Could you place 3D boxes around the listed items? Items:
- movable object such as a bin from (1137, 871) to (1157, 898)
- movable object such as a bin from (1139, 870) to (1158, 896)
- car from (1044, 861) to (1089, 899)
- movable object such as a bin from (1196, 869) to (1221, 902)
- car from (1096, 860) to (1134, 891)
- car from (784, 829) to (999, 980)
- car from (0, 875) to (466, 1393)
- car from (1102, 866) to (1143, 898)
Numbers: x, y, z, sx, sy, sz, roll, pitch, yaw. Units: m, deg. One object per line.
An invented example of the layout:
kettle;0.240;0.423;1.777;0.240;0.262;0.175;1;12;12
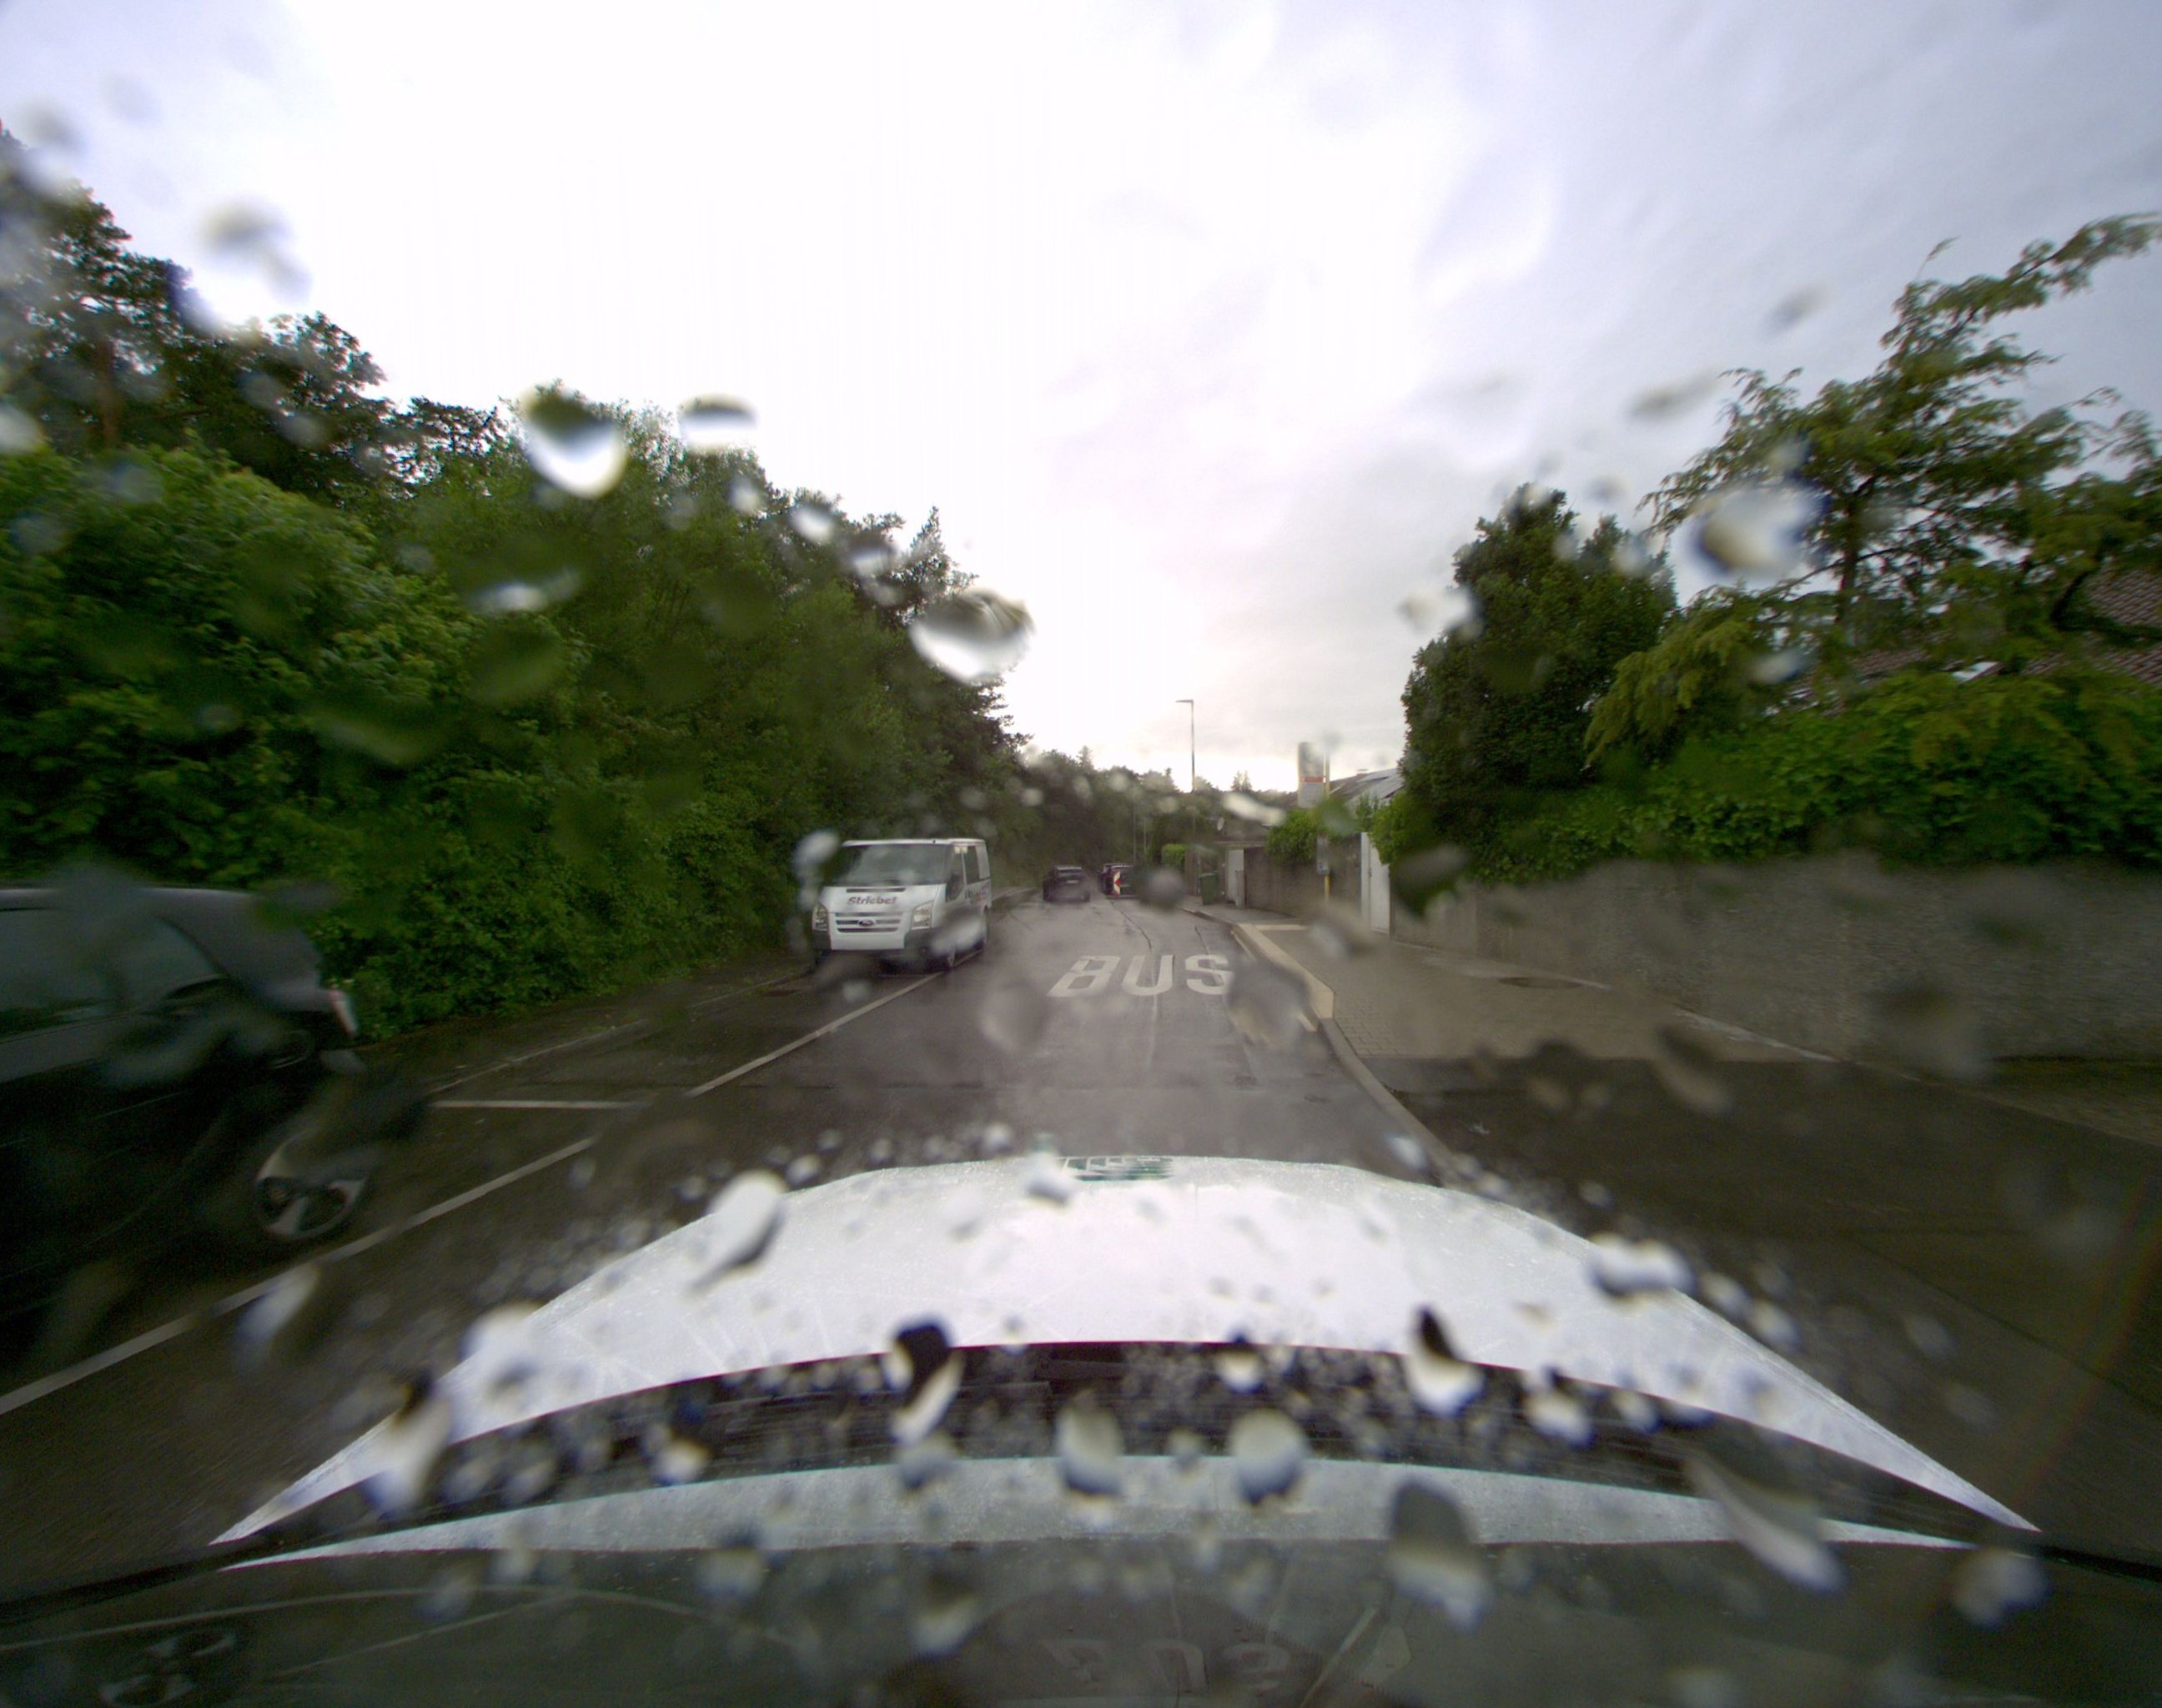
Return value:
movable object such as a bin;2.680;1.229;33.049;0.714;1.095;0.655;0;-1;-6
movable object such as a bin;2.824;1.200;34.201;0.727;1.078;0.660;0;-1;-3
car;-0.650;1.211;36.204;1.863;1.513;4.088;1;-4;-2
movable object such as a bin;4.443;1.097;28.452;0.736;1.088;0.600;-3;0;1
car;1.876;1.175;45.967;1.870;1.592;4.477;-1;0;-1
car;-2.786;0.687;13.442;2.103;1.974;5.175;-1;0;2
car;-4.022;0.875;2.622;1.593;1.511;2.949;-2;-1;8
car;1.999;1.352;40.677;1.751;1.462;4.298;0;0;-1
